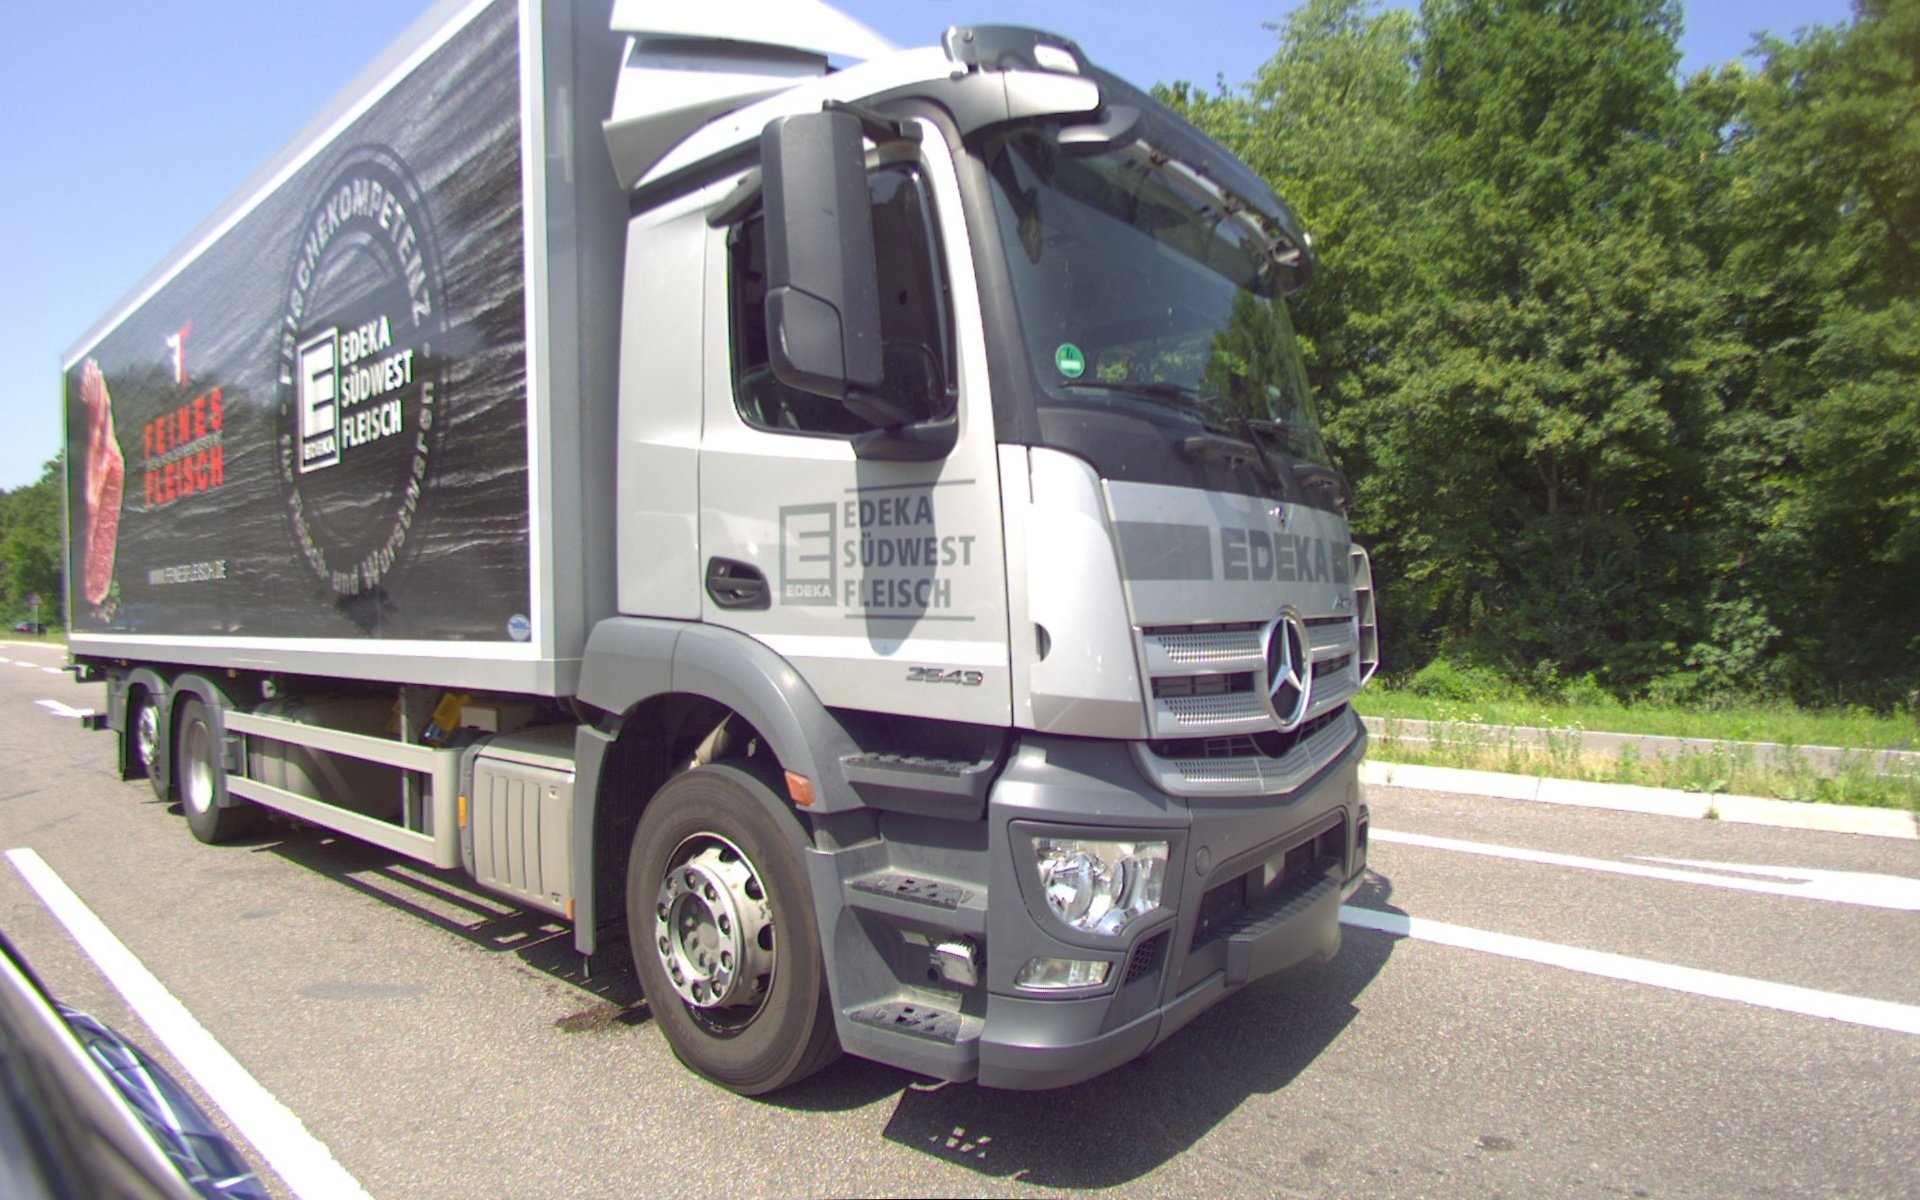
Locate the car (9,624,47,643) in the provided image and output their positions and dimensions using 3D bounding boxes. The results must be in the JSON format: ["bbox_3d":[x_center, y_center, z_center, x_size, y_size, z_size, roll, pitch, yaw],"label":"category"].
[{"bbox_3d":[-82.058,2.953,89.115,3.997,1.564,1.973,-1,0,40],"label":"car"}]

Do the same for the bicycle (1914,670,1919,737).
[{"bbox_3d":[14.385,1.473,14.029,0.558,0.930,1.608,2,-2,-40],"label":"bicycle"}]

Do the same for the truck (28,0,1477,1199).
[{"bbox_3d":[-3.175,-0.513,6.595,11.309,3.914,2.719,-1,-1,39],"label":"truck"}]
